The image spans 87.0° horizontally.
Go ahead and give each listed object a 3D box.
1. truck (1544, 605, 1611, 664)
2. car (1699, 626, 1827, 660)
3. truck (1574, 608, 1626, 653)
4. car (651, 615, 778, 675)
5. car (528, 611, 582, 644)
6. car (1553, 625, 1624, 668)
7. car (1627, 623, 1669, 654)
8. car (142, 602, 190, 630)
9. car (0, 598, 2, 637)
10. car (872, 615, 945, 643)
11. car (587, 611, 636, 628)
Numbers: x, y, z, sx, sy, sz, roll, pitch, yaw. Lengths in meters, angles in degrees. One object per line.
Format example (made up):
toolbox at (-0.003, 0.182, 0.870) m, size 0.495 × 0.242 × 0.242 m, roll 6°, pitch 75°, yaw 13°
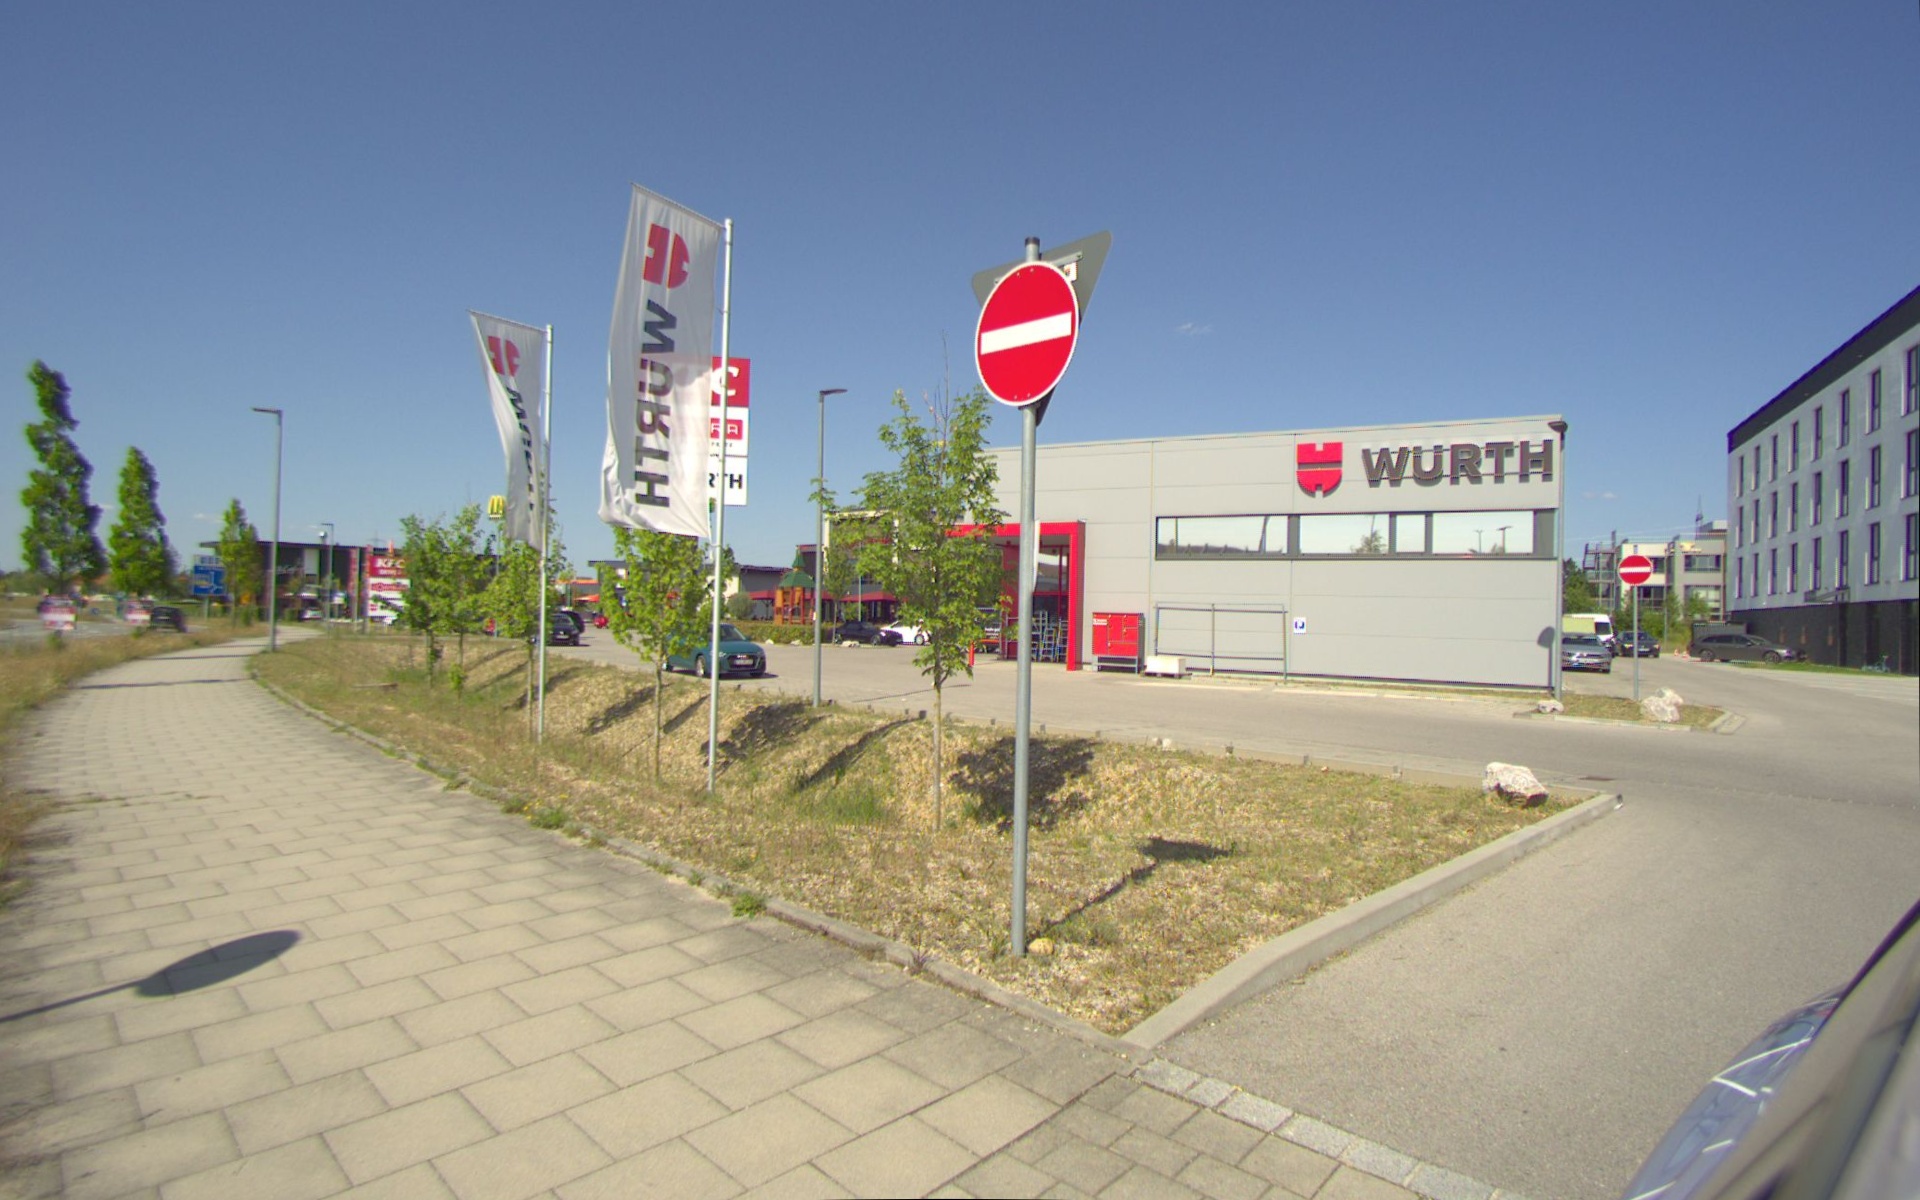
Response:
truck at (27.133, 1.472, 44.651) m, size 2.104 × 2.407 × 5.832 m, roll 0°, pitch -1°, yaw 27°
car at (38.830, 2.045, 49.083) m, size 1.840 × 1.527 × 4.532 m, roll 1°, pitch -1°, yaw -26°
truck at (36.135, 1.681, 57.281) m, size 1.981 × 2.407 × 5.832 m, roll 0°, pitch -1°, yaw 27°
car at (-6.736, 1.177, 27.474) m, size 1.812 × 1.468 × 4.224 m, roll 2°, pitch -1°, yaw -37°
car at (-19.326, 1.307, 48.248) m, size 1.840 × 1.484 × 4.368 m, roll 1°, pitch -1°, yaw -29°
car at (24.016, 1.725, 38.814) m, size 1.860 × 1.527 × 3.964 m, roll 0°, pitch -1°, yaw 25°
car at (39.021, 2.169, 57.453) m, size 1.704 × 1.638 × 3.957 m, roll 0°, pitch -1°, yaw 30°
car at (-47.525, 0.935, 60.655) m, size 1.877 × 1.571 × 4.389 m, roll 1°, pitch -1°, yaw -34°
car at (-37.812, 0.683, 37.888) m, size 1.908 × 1.571 × 4.763 m, roll 1°, pitch -1°, yaw -32°
car at (-2.939, 1.644, 57.583) m, size 3.884 × 1.493 × 1.782 m, roll 0°, pitch -1°, yaw 32°
car at (-32.898, 1.829, 95.564) m, size 1.869 × 1.586 × 4.039 m, roll 0°, pitch -1°, yaw 38°
